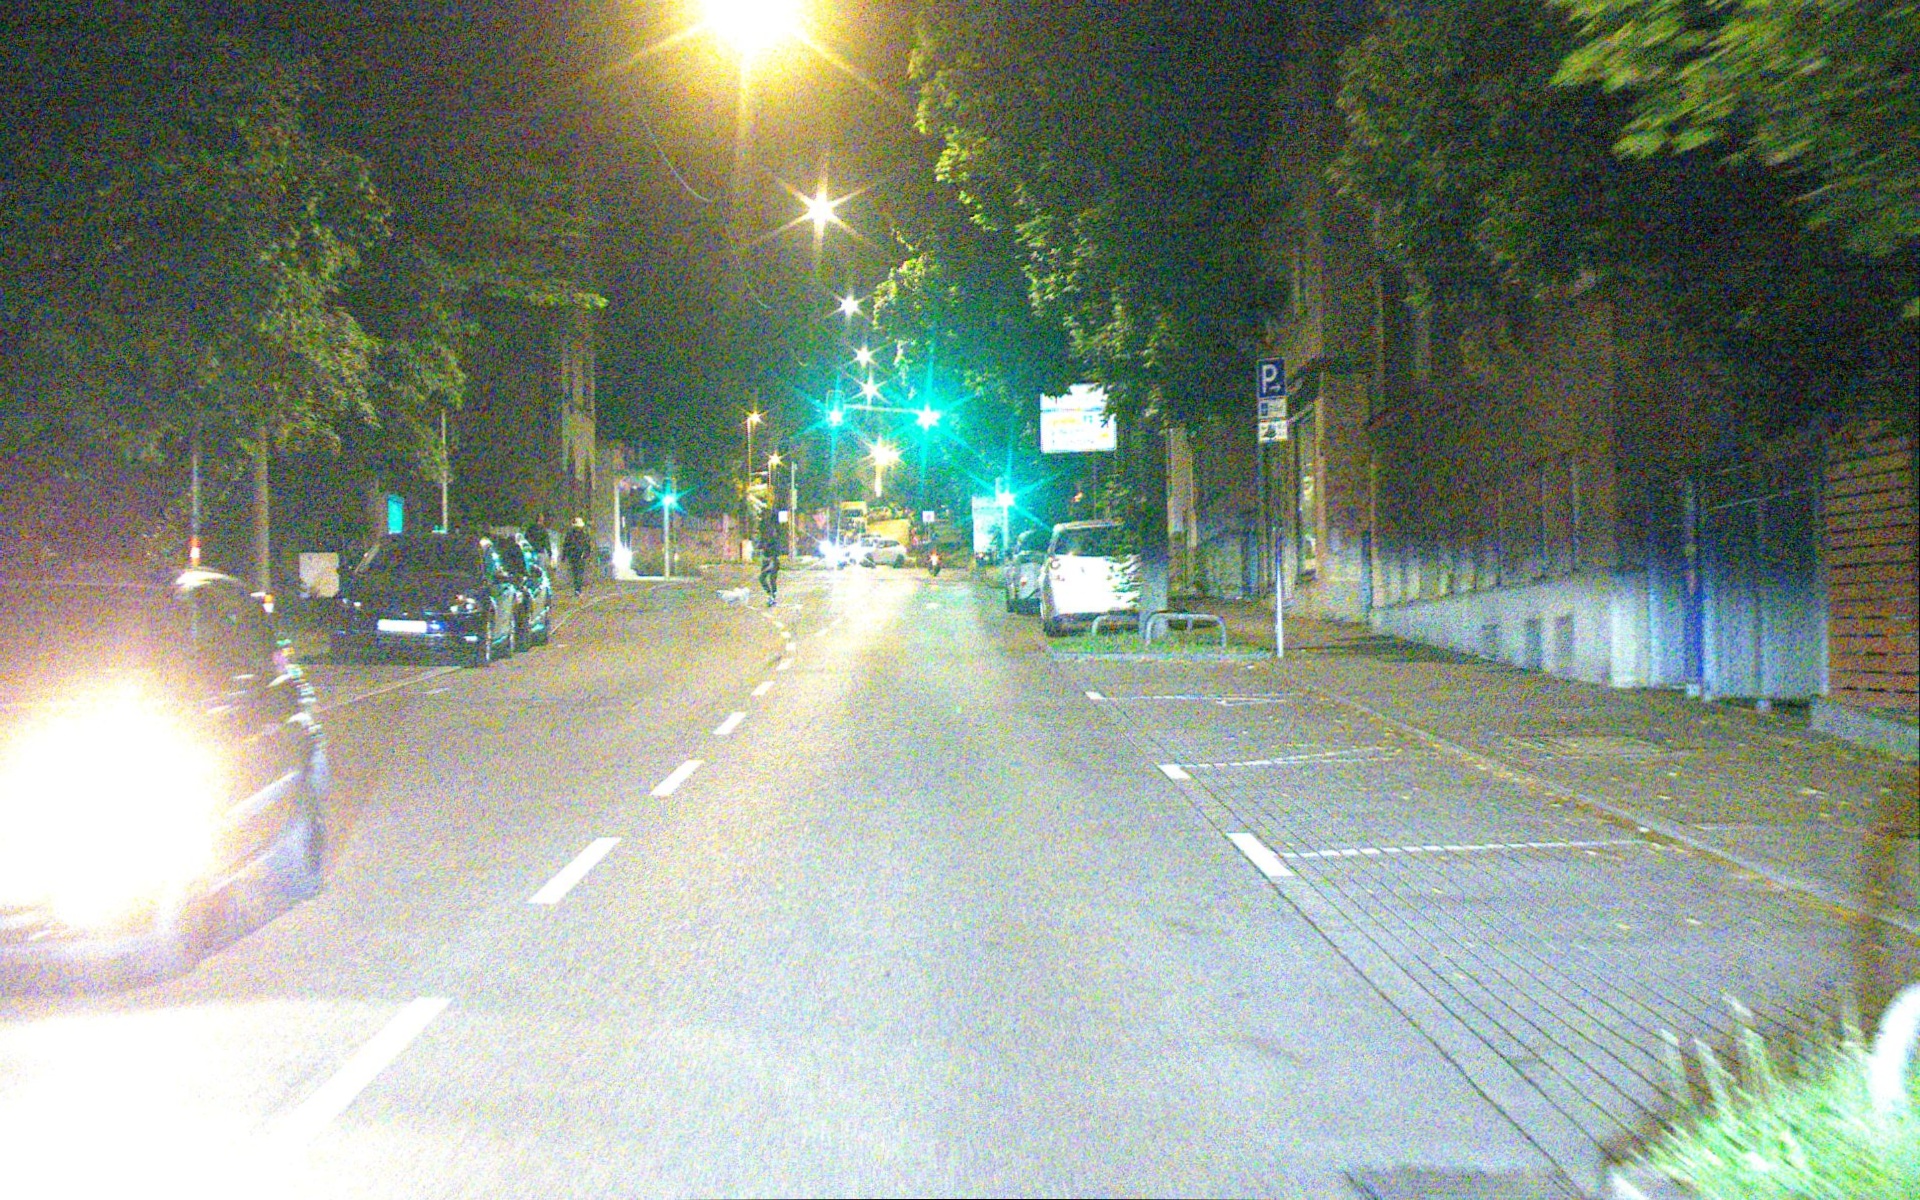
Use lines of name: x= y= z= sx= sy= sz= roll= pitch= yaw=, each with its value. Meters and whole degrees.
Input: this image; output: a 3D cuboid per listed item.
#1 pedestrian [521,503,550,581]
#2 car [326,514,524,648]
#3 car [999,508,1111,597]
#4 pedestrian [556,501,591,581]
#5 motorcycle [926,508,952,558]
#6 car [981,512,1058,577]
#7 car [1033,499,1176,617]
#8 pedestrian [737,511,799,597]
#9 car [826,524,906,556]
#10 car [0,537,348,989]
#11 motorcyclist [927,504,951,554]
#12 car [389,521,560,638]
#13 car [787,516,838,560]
pedestrian: x=-9.408 y=-1.277 z=76.105 sx=0.569 sy=1.694 sz=0.930 roll=1 pitch=0 yaw=-10
car: x=-6.088 y=-0.251 z=39.525 sx=1.721 sy=1.432 sz=4.191 roll=1 pitch=1 yaw=-2
car: x=1.710 y=-0.890 z=63.095 sx=1.868 sy=1.521 sz=4.150 roll=-2 pitch=1 yaw=-1
pedestrian: x=-8.574 y=-1.310 z=76.191 sx=0.718 sy=1.759 sz=0.603 roll=1 pitch=0 yaw=-9
motorcycle: x=-0.765 y=-2.393 z=123.965 sx=0.931 sy=1.746 sz=2.625 roll=1 pitch=0 yaw=0
car: x=1.407 y=-1.337 z=82.434 sx=1.629 sy=1.491 sz=3.415 roll=1 pitch=1 yaw=-2
car: x=2.045 y=-0.629 z=49.750 sx=1.812 sy=1.588 sz=4.274 roll=-2 pitch=1 yaw=-1
pedestrian: x=-3.913 y=-0.930 z=70.132 sx=0.766 sy=1.694 sz=0.925 roll=4 pitch=1 yaw=37
car: x=-4.523 y=-2.870 z=165.793 sx=1.719 sy=1.452 sz=3.913 roll=1 pitch=0 yaw=39
car: x=-3.428 y=0.498 z=12.908 sx=1.645 sy=1.417 sz=3.871 roll=-1 pitch=1 yaw=-2
motorcyclist: x=-0.765 y=-2.557 z=123.946 sx=0.848 sy=1.746 sz=0.805 roll=1 pitch=0 yaw=0
car: x=-6.285 y=-0.304 z=44.928 sx=1.721 sy=1.432 sz=4.811 roll=0 pitch=1 yaw=-2
car: x=-6.043 y=-2.548 z=141.065 sx=1.944 sy=1.711 sz=4.000 roll=1 pitch=0 yaw=-1
